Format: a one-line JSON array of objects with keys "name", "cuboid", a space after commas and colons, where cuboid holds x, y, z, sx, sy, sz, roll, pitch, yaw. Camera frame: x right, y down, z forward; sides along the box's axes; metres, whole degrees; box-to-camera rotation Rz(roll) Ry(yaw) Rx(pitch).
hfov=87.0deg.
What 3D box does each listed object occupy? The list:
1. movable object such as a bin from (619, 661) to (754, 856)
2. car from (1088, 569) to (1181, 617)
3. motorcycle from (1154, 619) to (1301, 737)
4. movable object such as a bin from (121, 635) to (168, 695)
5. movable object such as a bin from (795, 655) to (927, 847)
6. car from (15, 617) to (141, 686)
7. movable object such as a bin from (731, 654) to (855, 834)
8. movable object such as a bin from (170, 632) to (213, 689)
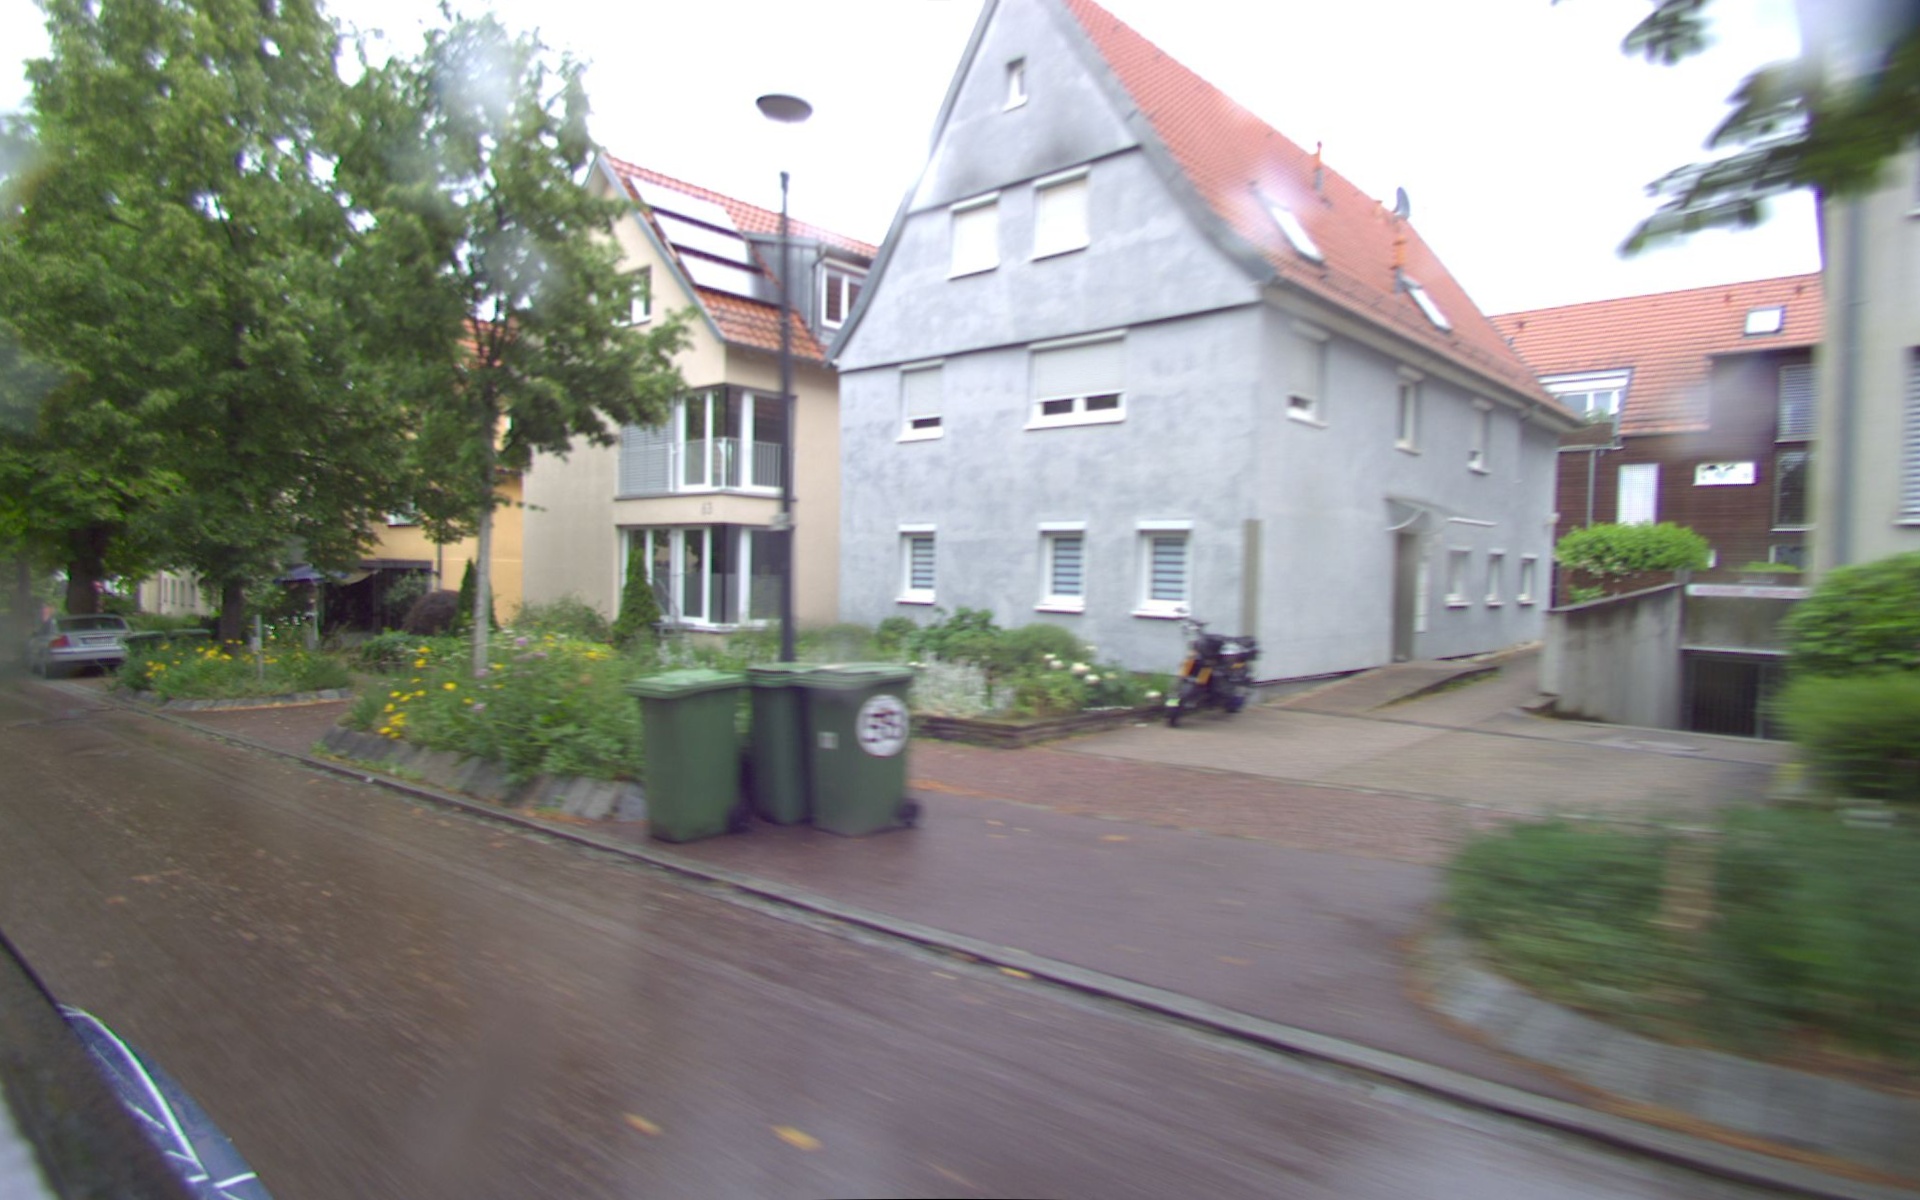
[{"name": "movable object such as a bin", "cuboid": [-1.739, 0.969, 6.438, 0.536, 1.119, 0.636, -2, -2, 43]}, {"name": "car", "cuboid": [7.246, -0.311, 41.787, 1.810, 1.871, 3.941, -1, 1, 45]}, {"name": "motorcycle", "cuboid": [3.076, 0.827, 11.510, 0.817, 1.171, 1.961, -1, 0, 41]}, {"name": "movable object such as a bin", "cuboid": [-15.575, 1.236, 19.333, 0.545, 1.070, 0.588, -2, 2, 45]}, {"name": "movable object such as a bin", "cuboid": [-0.633, 0.926, 6.482, 0.564, 1.119, 0.604, -2, -2, 43]}, {"name": "car", "cuboid": [-21.180, 1.167, 24.236, 4.545, 1.399, 1.753, -1, 1, 43]}, {"name": "movable object such as a bin", "cuboid": [-1.130, 0.941, 6.872, 0.564, 1.119, 0.604, -2, -2, 43]}, {"name": "movable object such as a bin", "cuboid": [-15.115, 1.178, 19.906, 0.545, 1.070, 0.588, -1, 1, 45]}]
